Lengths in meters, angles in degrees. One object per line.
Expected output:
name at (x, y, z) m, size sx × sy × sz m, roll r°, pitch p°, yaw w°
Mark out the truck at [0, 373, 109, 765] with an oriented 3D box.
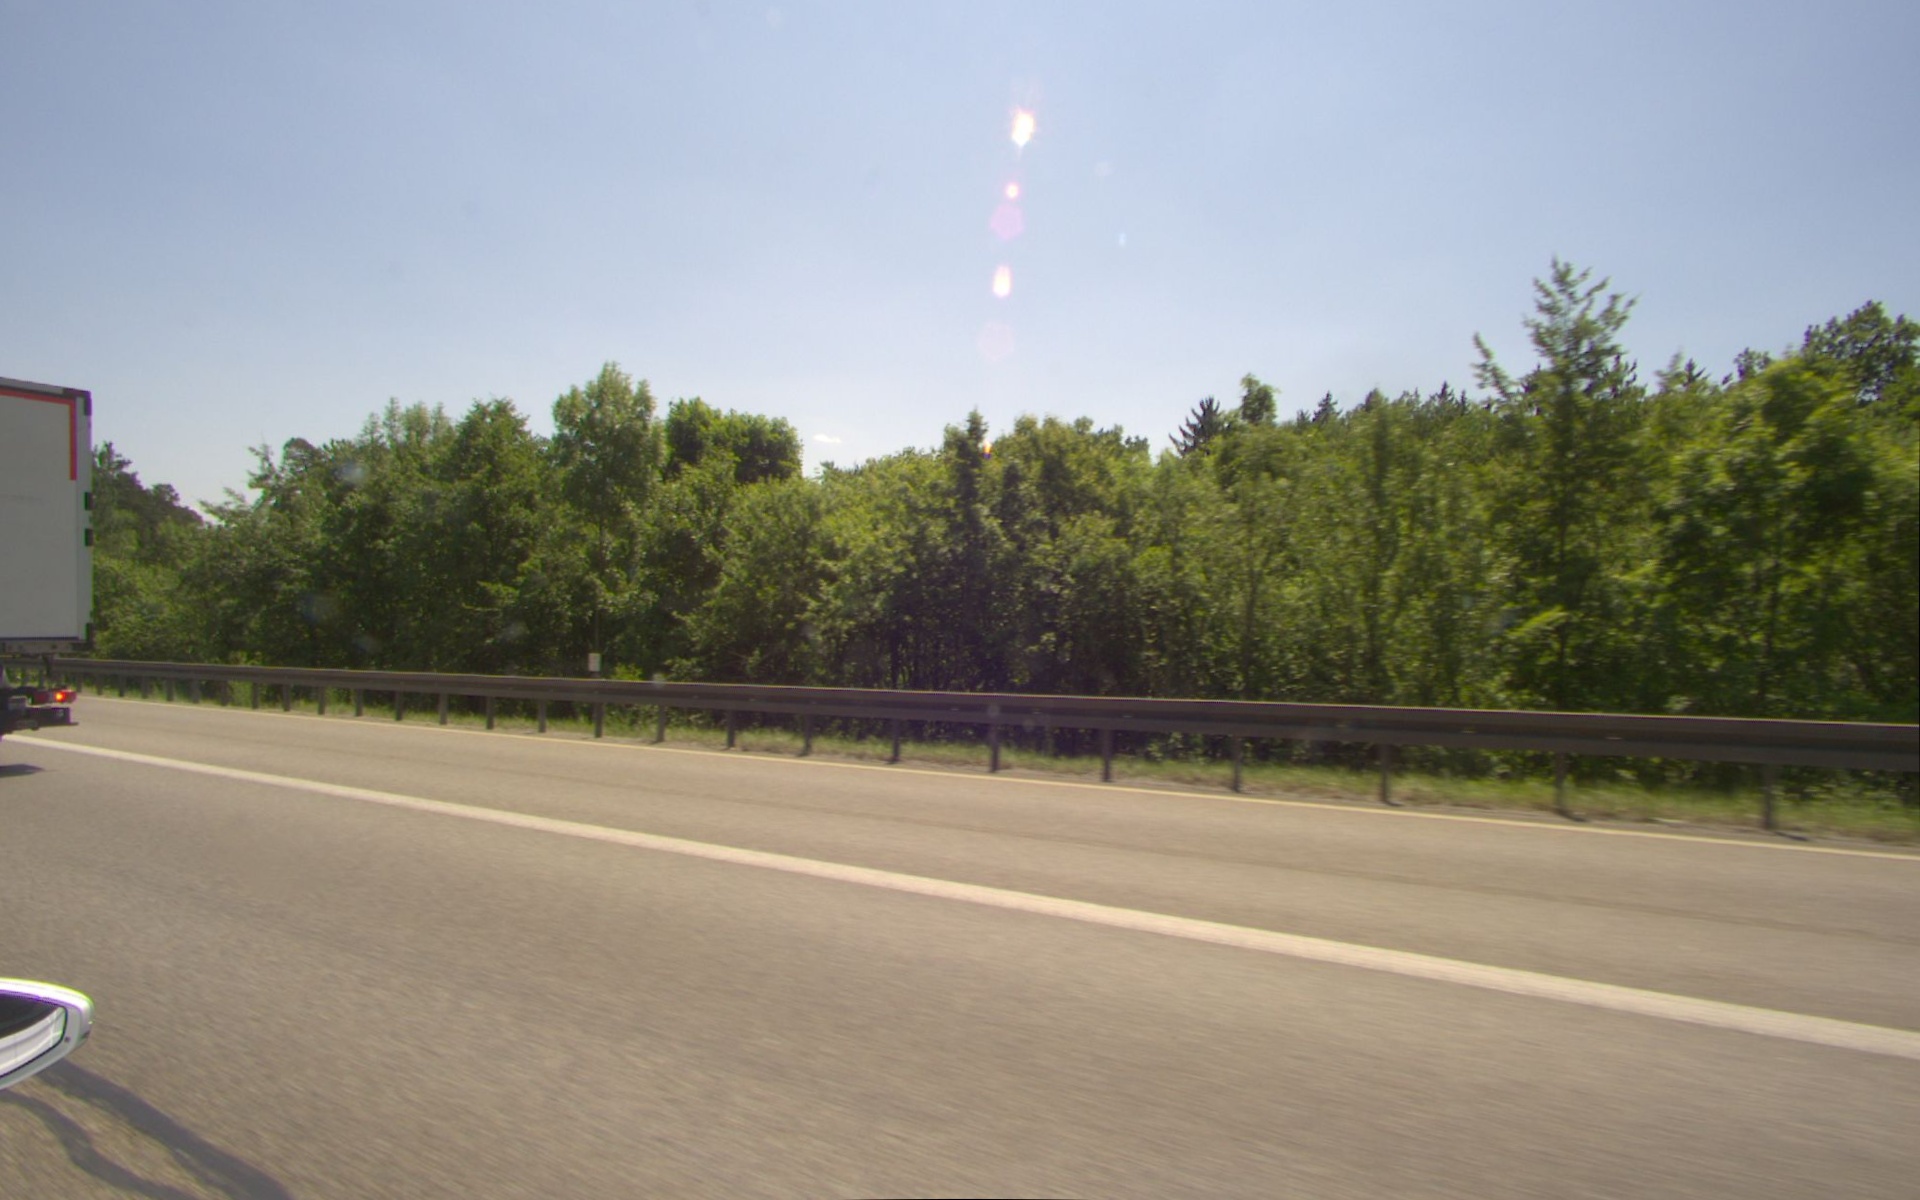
truck at (-13.958, -0.230, 12.152) m, size 9.640 × 3.929 × 2.682 m, roll -1°, pitch 1°, yaw 32°
